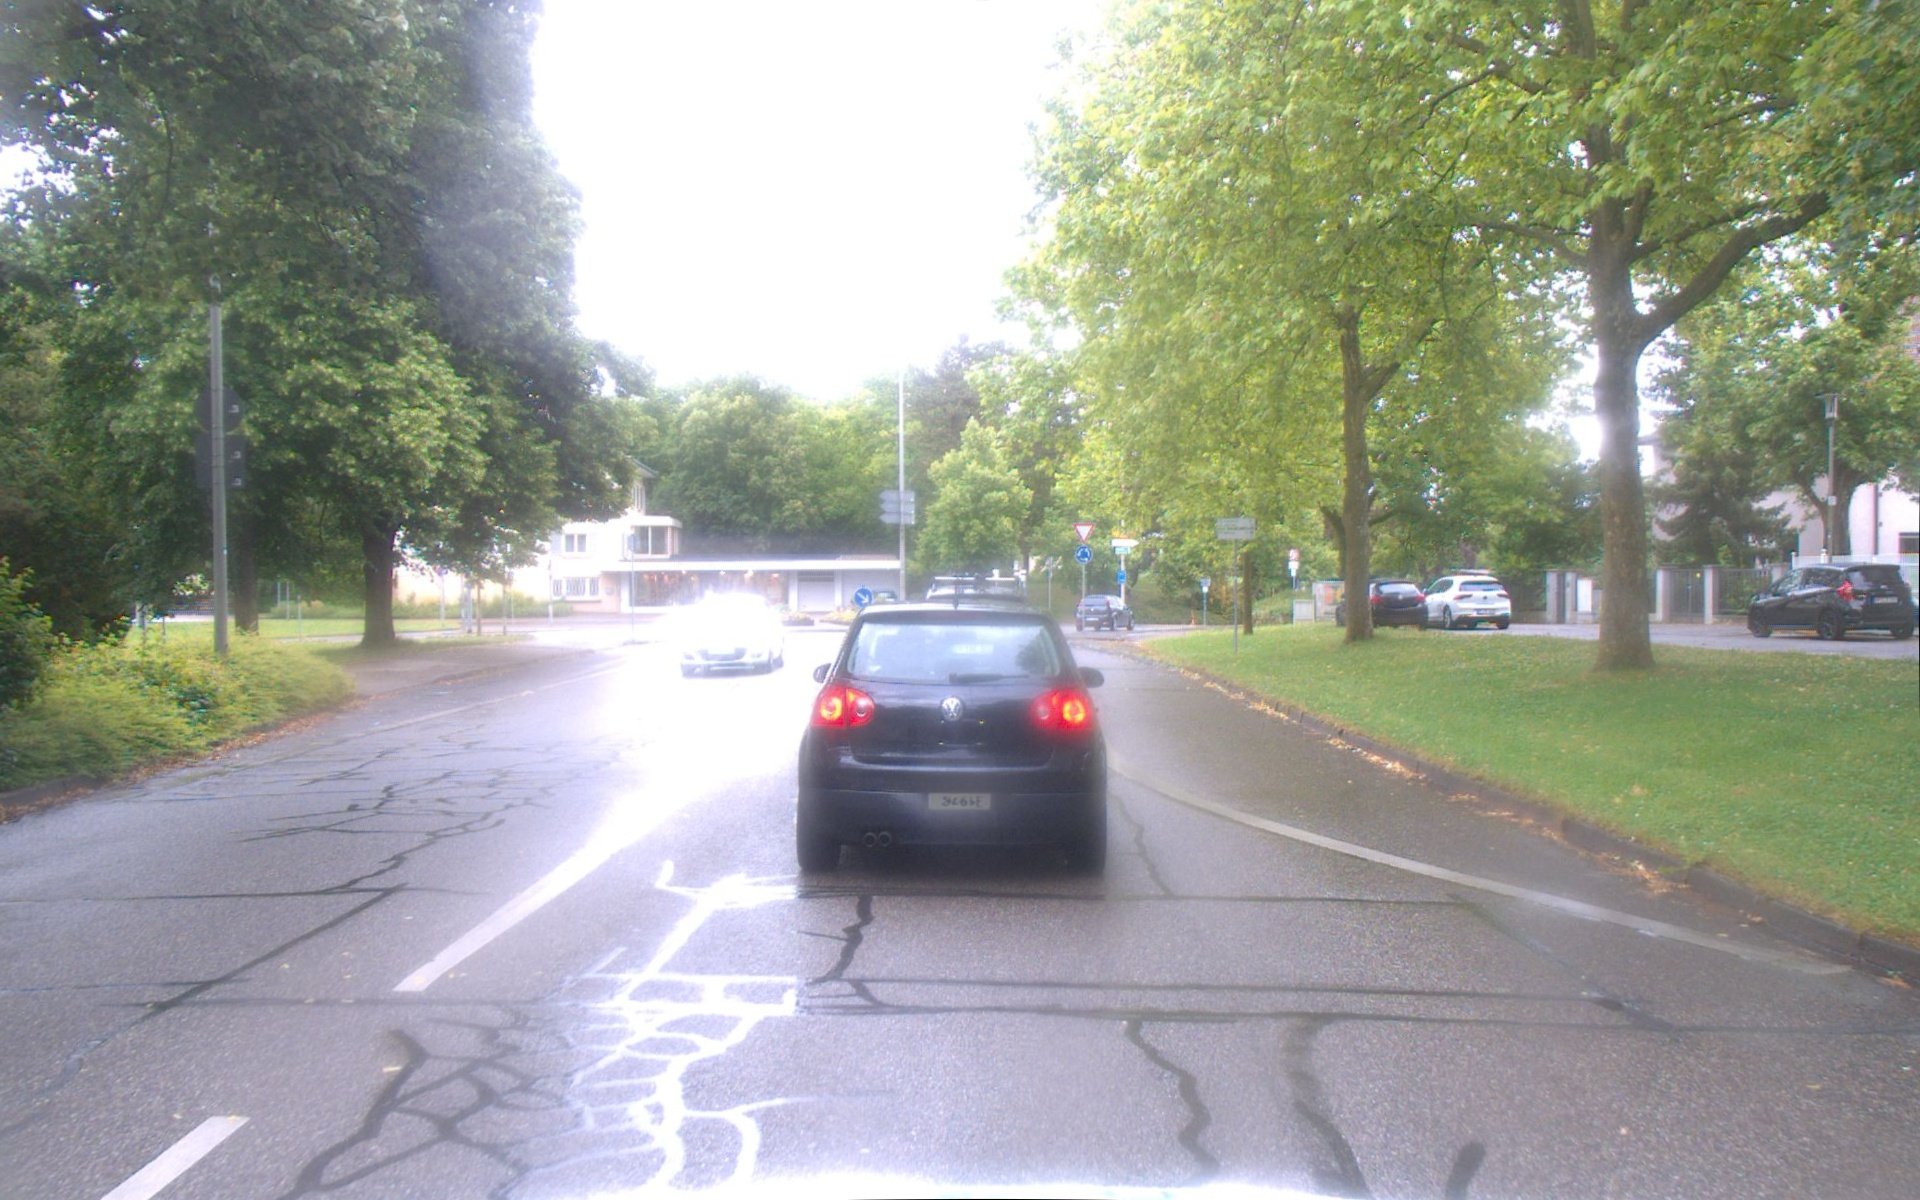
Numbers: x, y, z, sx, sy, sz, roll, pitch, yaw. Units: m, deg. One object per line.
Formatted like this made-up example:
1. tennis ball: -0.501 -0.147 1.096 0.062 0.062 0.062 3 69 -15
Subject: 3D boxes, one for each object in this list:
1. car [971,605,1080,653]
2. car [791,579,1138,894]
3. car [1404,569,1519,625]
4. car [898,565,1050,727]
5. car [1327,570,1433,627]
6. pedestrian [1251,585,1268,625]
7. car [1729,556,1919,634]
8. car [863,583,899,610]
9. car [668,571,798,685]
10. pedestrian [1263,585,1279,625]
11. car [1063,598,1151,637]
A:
1. car: 2.300 0.990 57.257 1.959 1.557 3.987 1 0 34
2. car: -0.006 0.702 10.370 1.729 1.565 3.999 1 0 -1
3. car: 14.331 -0.067 47.512 1.808 1.497 4.424 -2 0 -2
4. car: 0.125 0.542 21.335 1.729 1.833 4.245 -1 0 -1
5. car: 11.925 -0.036 47.230 1.728 1.497 4.597 -2 0 -1
6. pedestrian: 13.199 0.219 72.898 0.519 1.743 0.633 1 -1 -14
7. car: 17.975 -0.090 34.365 1.725 1.497 4.353 -1 0 -4
8. car: -4.592 -0.223 95.576 1.778 1.512 3.826 -1 0 -7
9. car: -4.391 0.523 32.695 1.953 2.049 4.573 1 0 -1
10. pedestrian: 13.870 0.232 73.722 0.620 1.743 0.530 1 -1 17
11. car: 6.111 0.729 68.359 1.959 1.557 3.987 1 0 34
